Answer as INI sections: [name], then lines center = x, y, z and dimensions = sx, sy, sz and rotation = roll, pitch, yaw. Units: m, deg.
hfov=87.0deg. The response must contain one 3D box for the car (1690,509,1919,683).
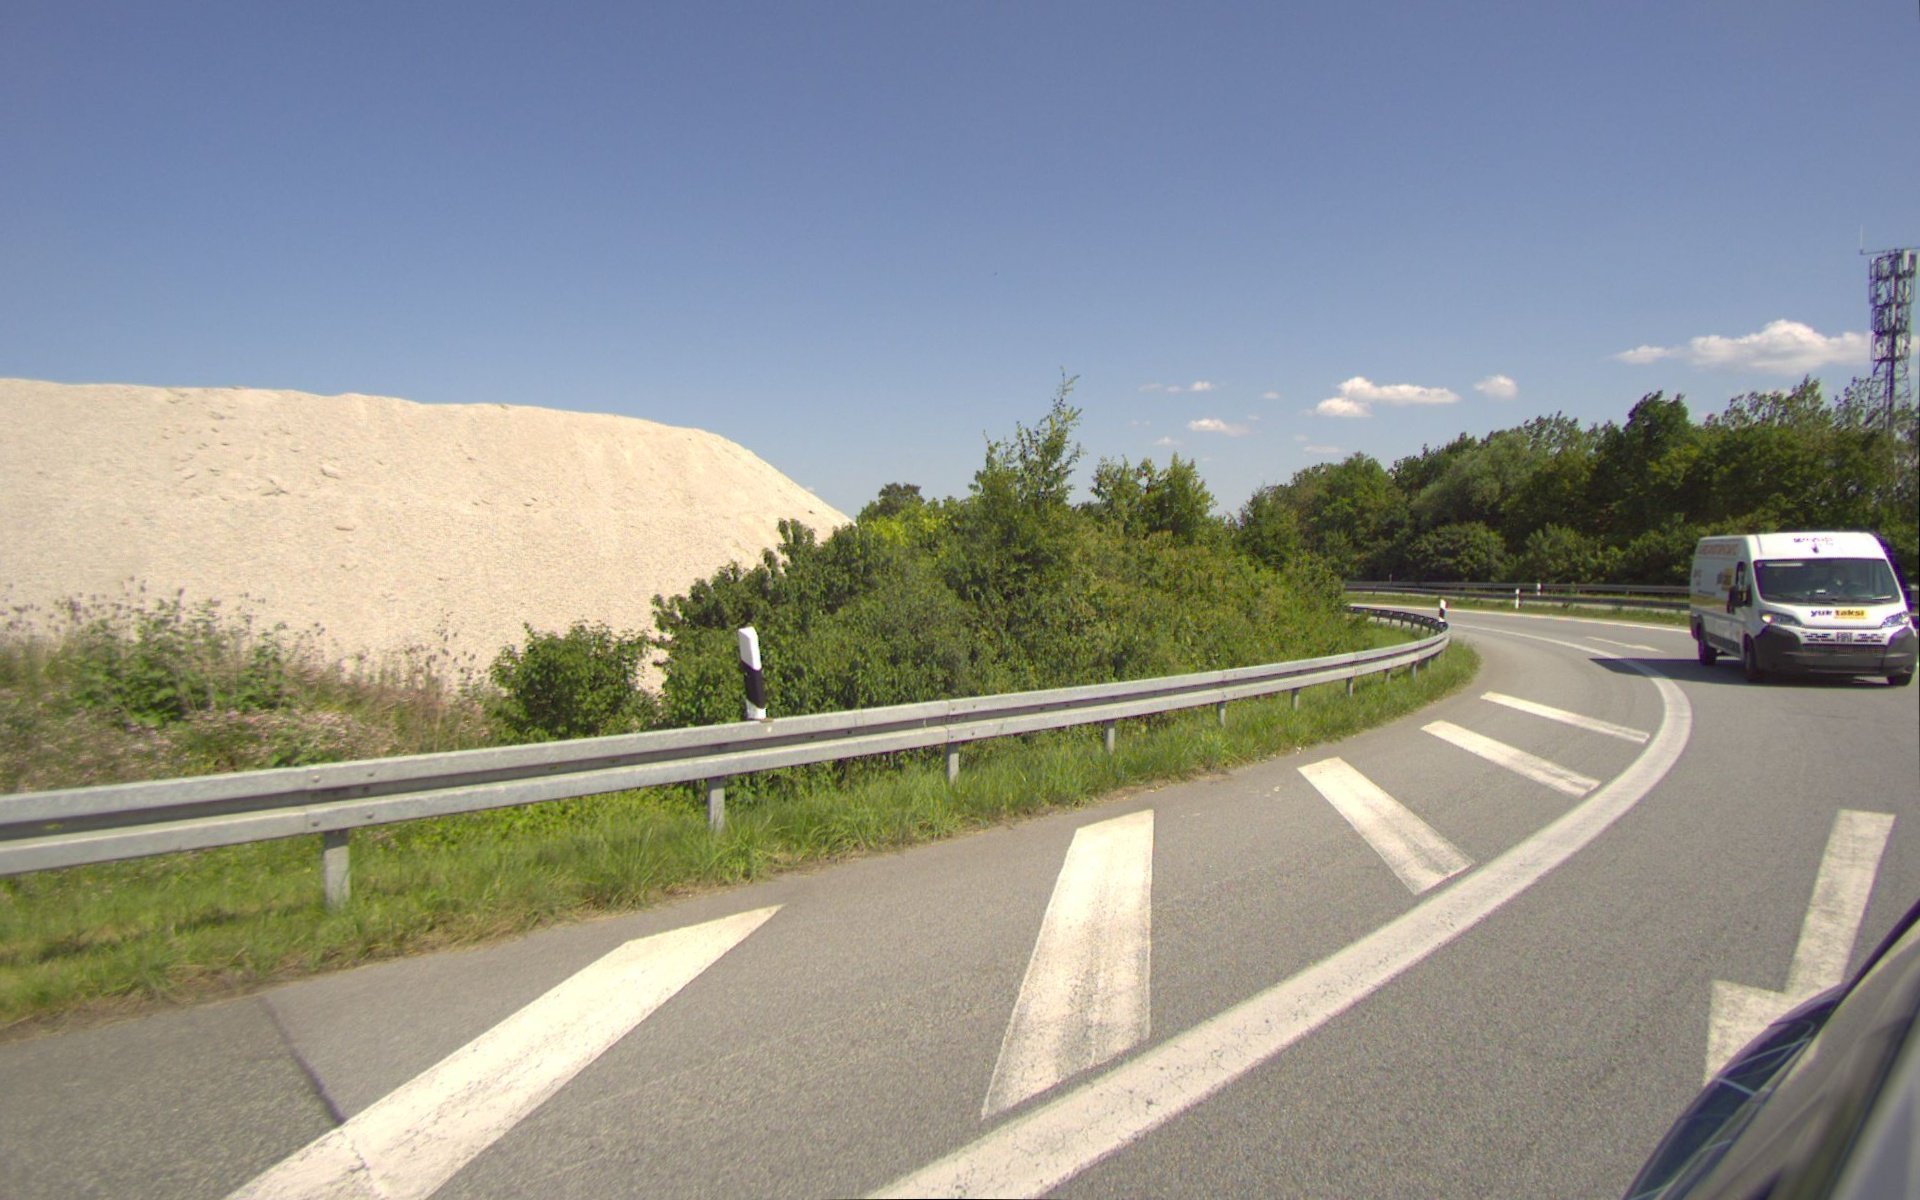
[car]
center = 14.840, -0.112, 17.975
dimensions = 2.069, 2.555, 6.179
rotation = -2, 0, 27
